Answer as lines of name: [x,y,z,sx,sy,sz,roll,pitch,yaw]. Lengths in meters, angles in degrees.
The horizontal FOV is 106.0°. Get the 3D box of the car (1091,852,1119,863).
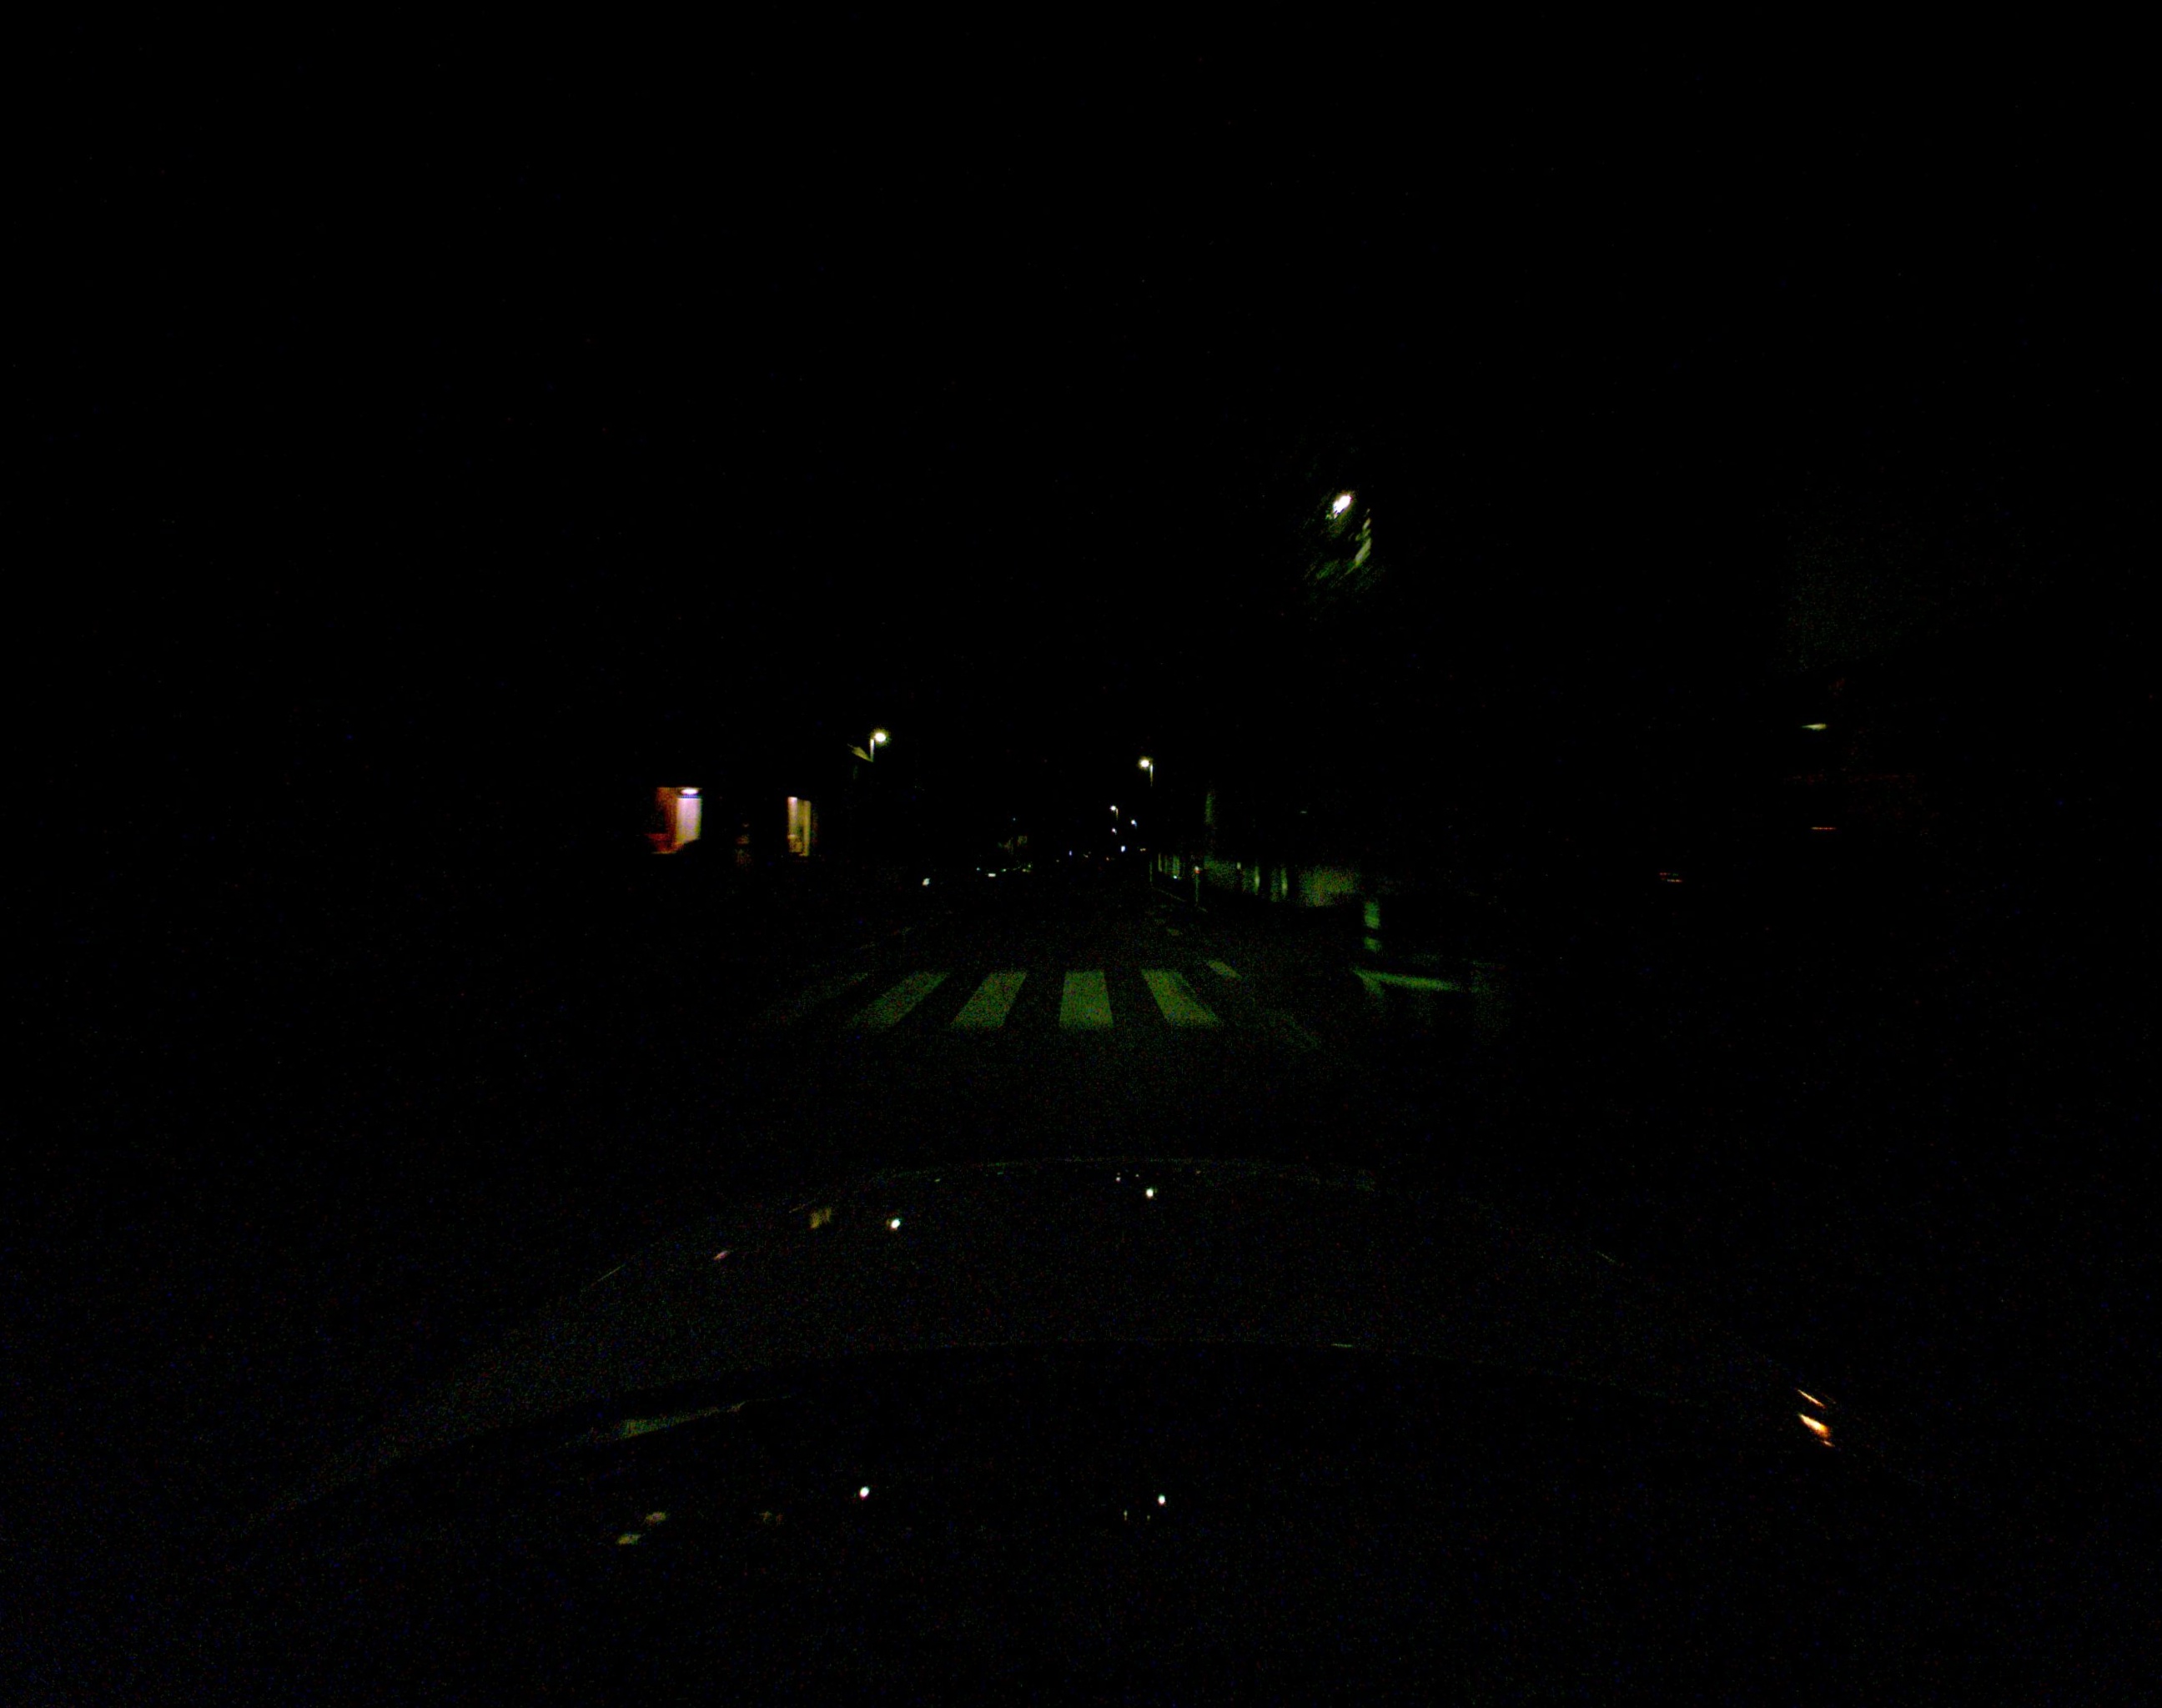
car: [4.559,0.638,154.012,5.169,2.013,2.100,-2,0,-2]

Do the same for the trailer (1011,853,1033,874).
trailer: [-4.888,0.787,67.773,1.442,1.688,3.428,2,0,2]

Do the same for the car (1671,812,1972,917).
car: [13.163,0.188,14.633,3.833,1.496,1.676,-4,-1,-1]

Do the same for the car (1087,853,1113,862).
car: [4.115,0.704,175.707,5.152,1.887,2.107,-2,0,9]

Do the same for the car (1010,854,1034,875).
car: [-4.651,0.798,64.582,1.667,1.522,2.977,2,0,-2]

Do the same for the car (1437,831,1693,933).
car: [8.591,0.475,14.684,3.495,1.525,1.820,-3,0,-1]

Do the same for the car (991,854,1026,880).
car: [-4.481,0.775,50.570,1.761,1.519,4.277,1,0,0]

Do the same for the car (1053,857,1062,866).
car: [-4.948,1.629,174.540,1.820,1.987,4.462,2,-1,-2]

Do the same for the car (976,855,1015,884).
car: [-4.692,0.827,45.388,1.682,1.510,4.278,0,0,0]

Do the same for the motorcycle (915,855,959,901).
motorcycle: [-4.651,0.756,26.509,0.742,1.452,2.200,0,0,8]

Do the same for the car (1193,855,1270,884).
car: [7.731,0.780,42.073,3.696,1.473,1.731,0,-1,2]

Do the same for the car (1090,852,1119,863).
car: [4.300,0.663,150.944,5.169,2.013,2.100,-2,0,-2]
